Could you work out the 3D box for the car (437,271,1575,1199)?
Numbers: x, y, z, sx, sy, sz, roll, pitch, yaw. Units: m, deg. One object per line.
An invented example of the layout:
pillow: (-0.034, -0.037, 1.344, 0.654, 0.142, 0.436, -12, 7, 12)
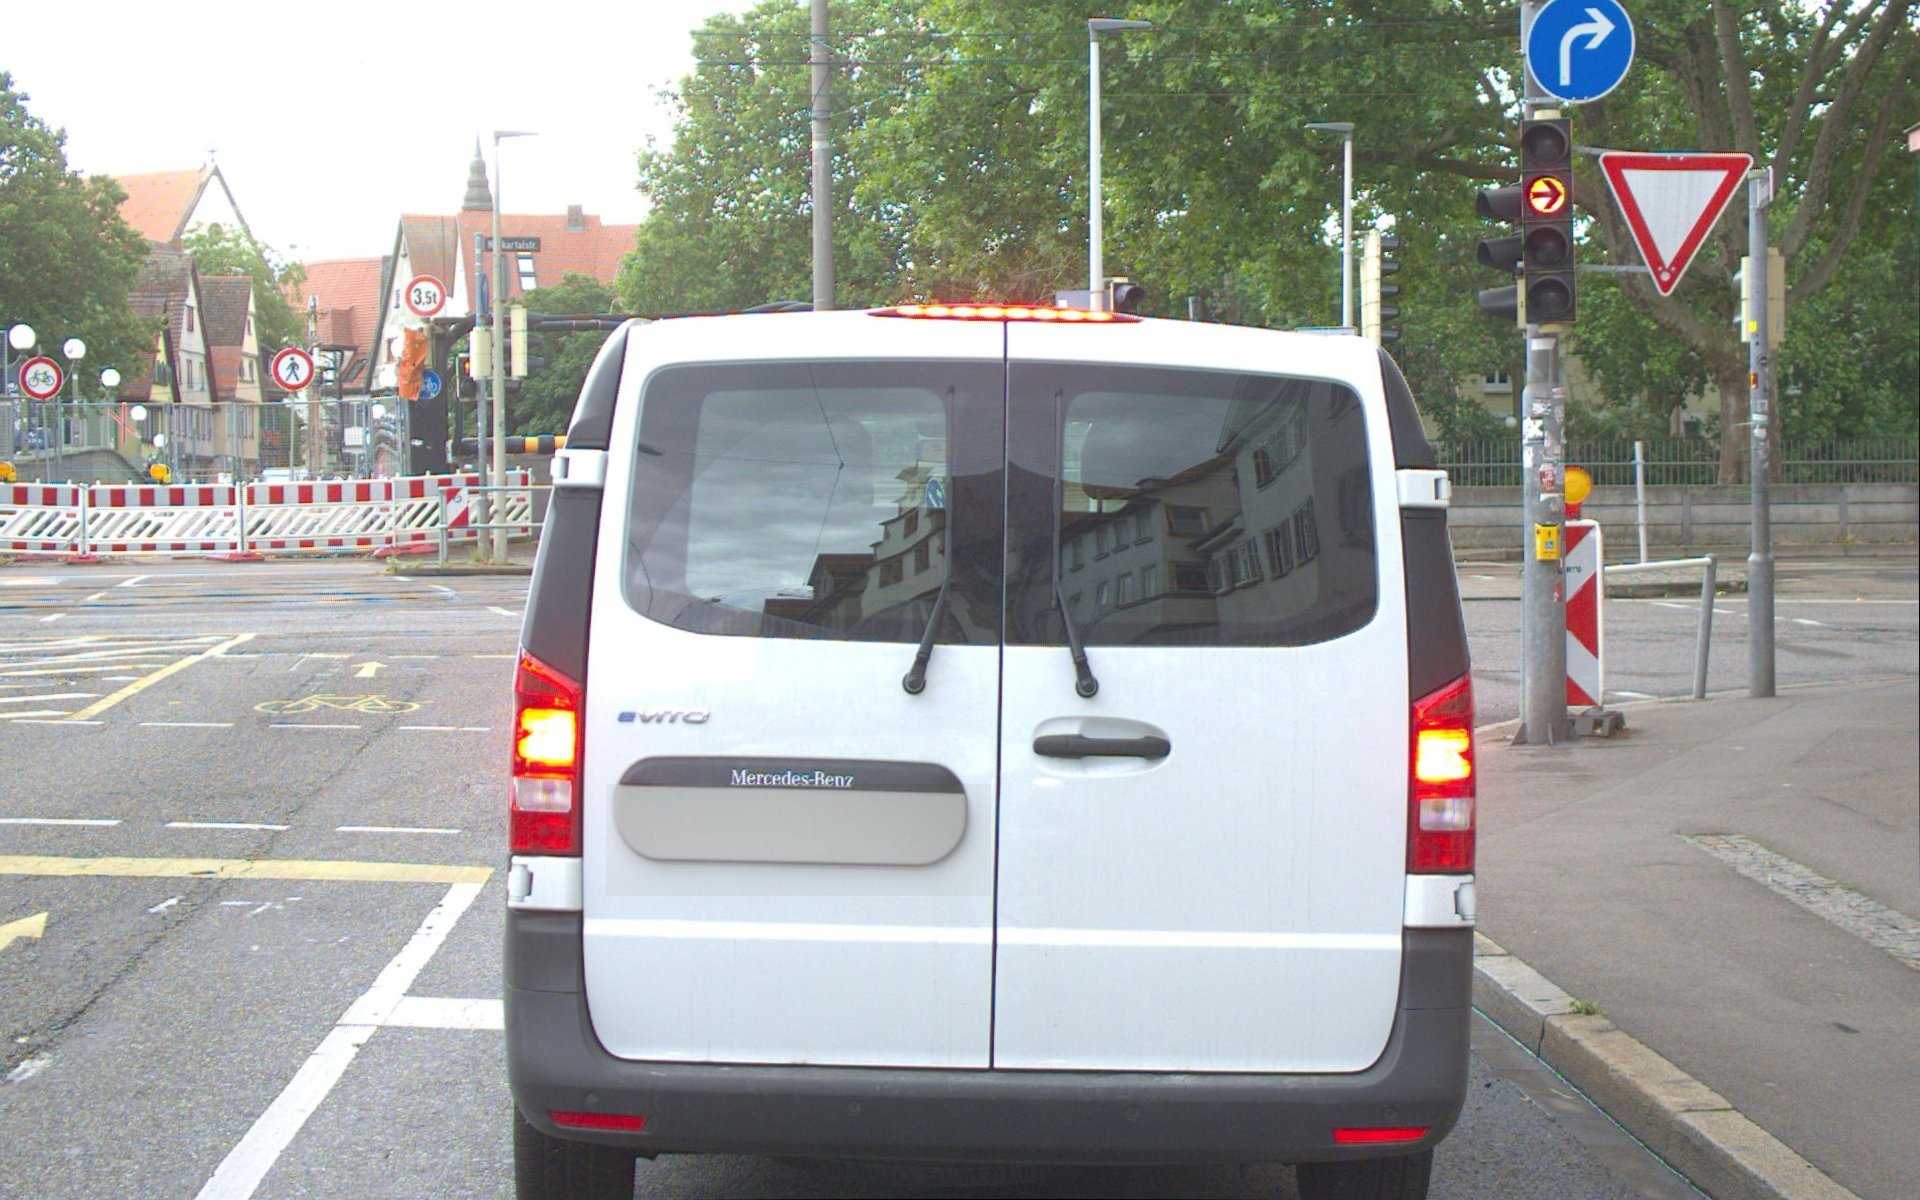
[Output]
car: (-0.074, 0.285, 8.171, 1.993, 1.916, 4.250, 0, 3, -4)
